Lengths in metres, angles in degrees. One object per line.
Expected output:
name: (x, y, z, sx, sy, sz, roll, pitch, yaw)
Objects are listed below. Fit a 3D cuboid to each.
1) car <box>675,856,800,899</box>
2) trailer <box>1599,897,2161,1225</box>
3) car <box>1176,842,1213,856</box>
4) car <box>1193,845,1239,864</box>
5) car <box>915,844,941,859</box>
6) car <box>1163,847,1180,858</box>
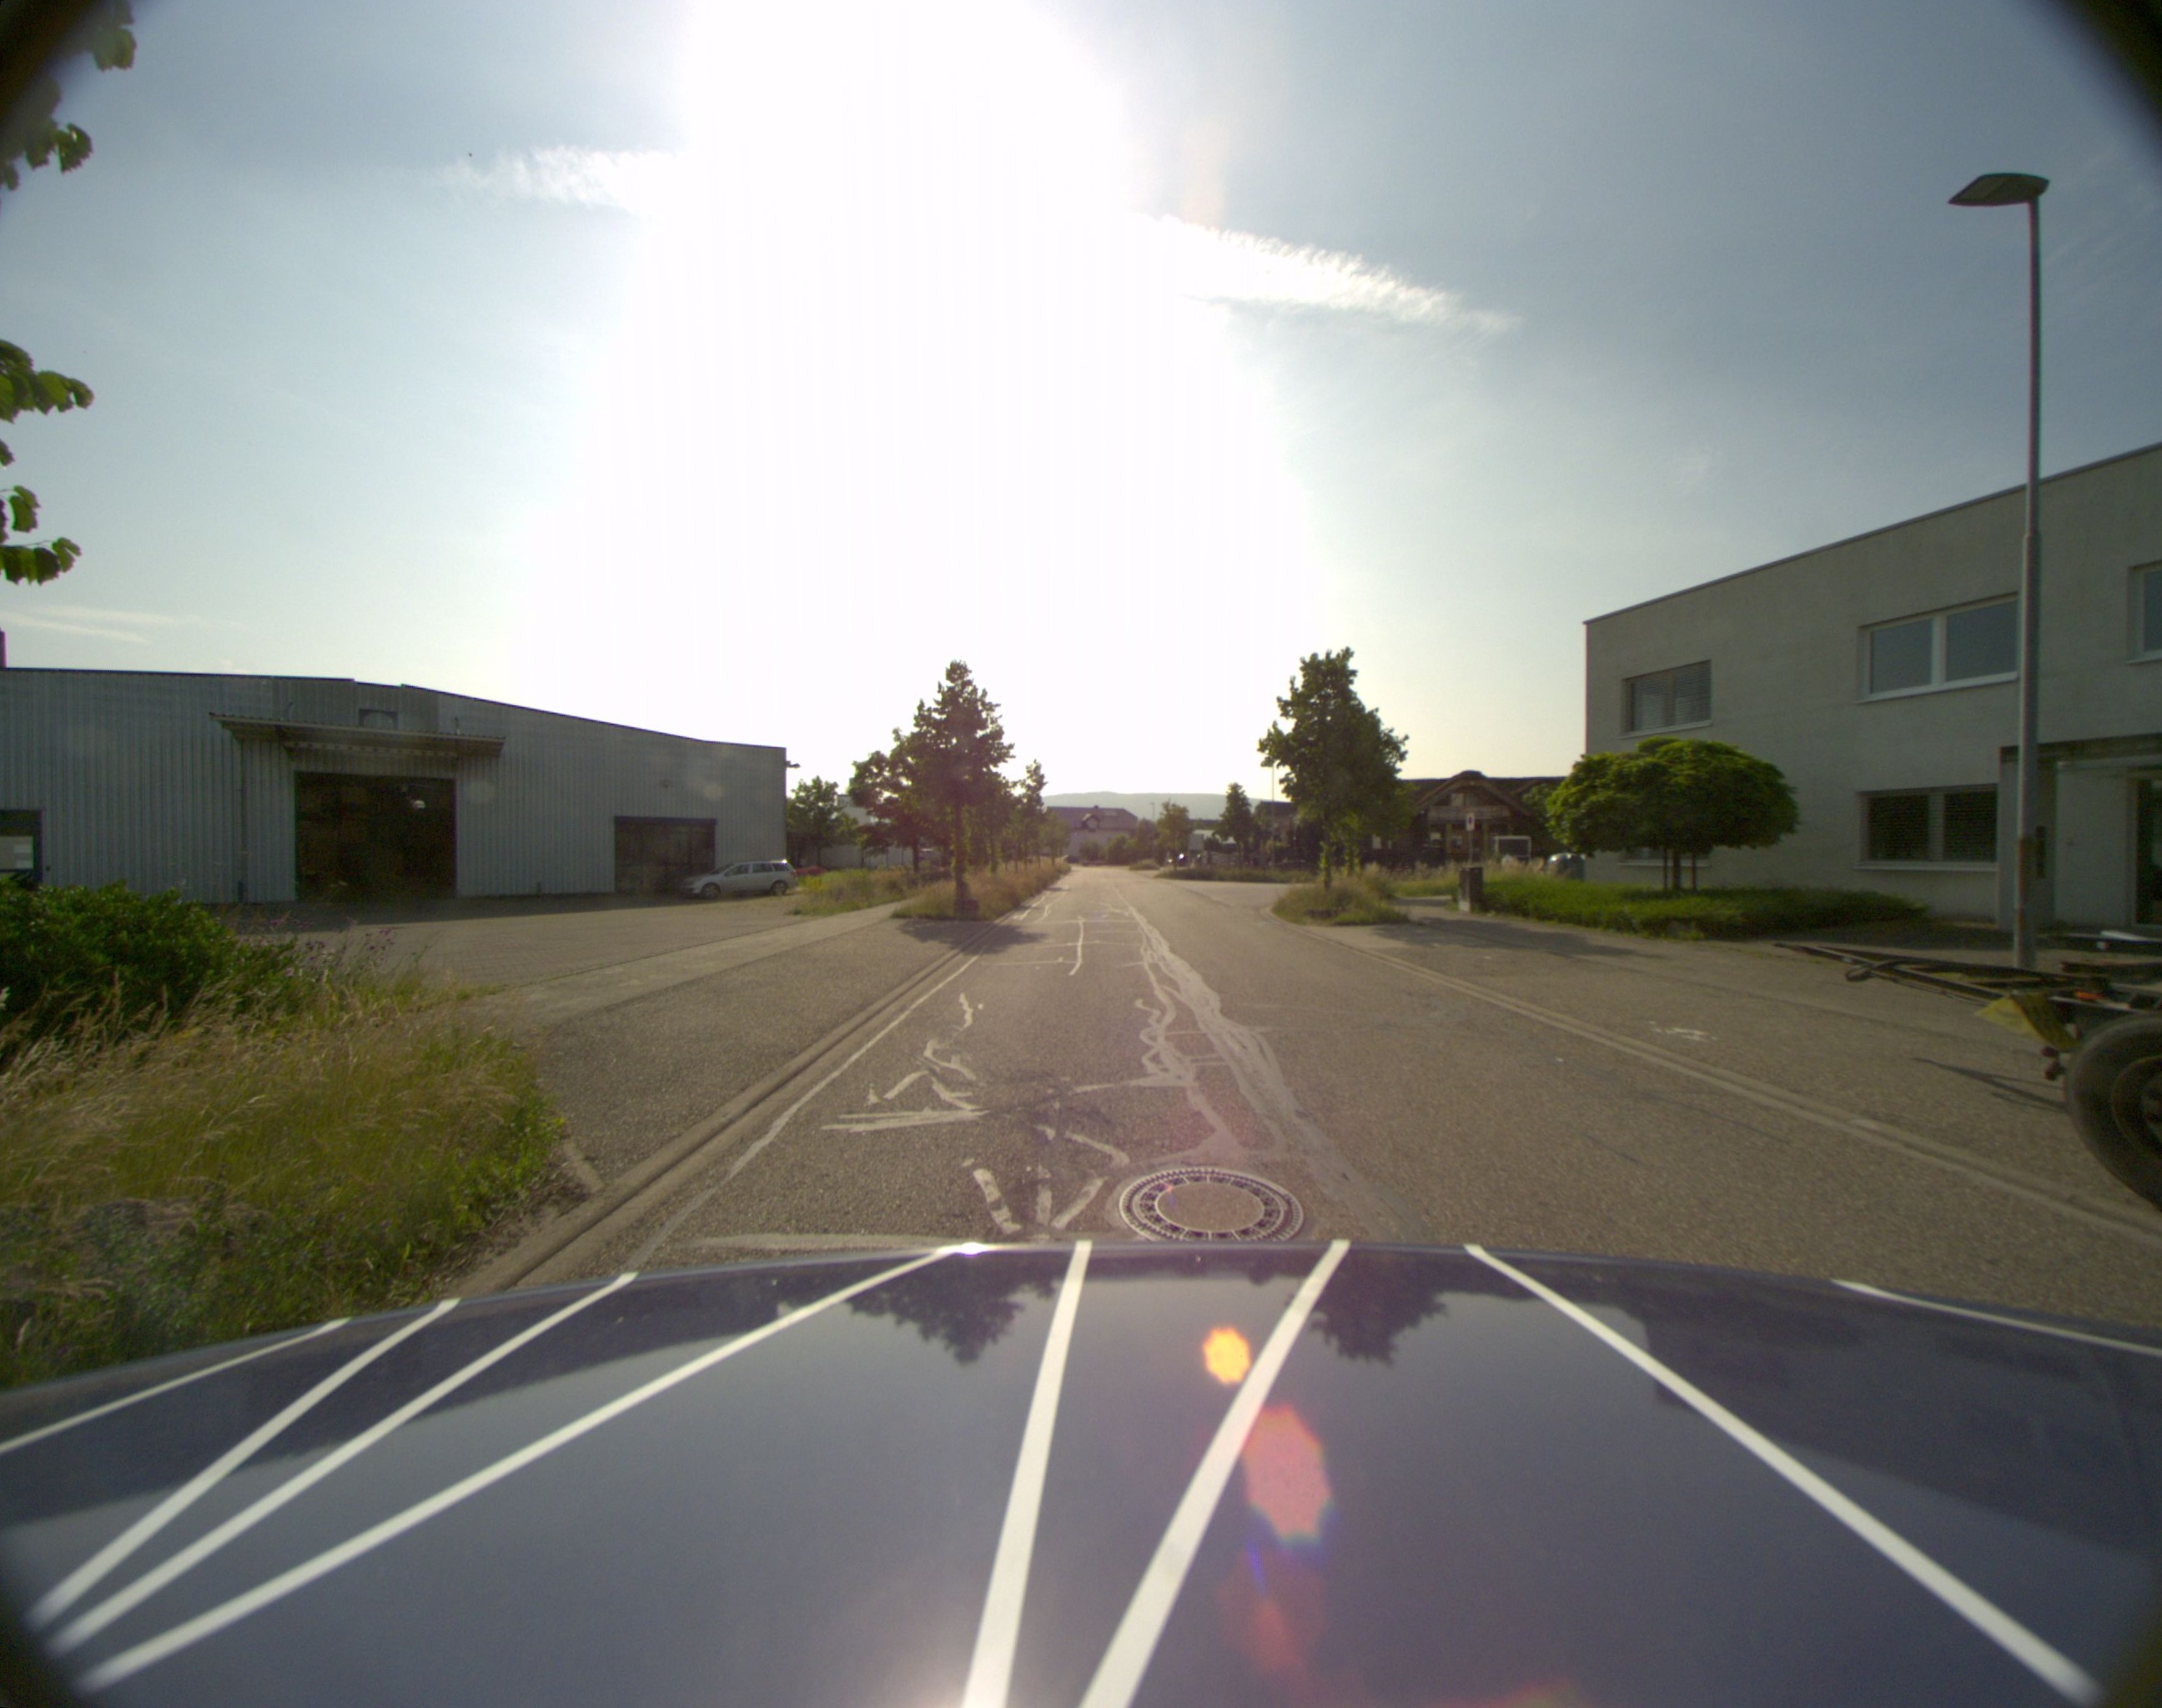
car: (-14.147, 0.920, 31.431, 4.368, 1.554, 1.753, 0, 3, -41)
trailer: (5.721, 0.970, 1.727, 2.552, 1.068, 9.731, -2, 0, 1)
car: (14.169, -0.632, 94.954, 4.004, 1.783, 1.996, -1, 1, -21)
car: (12.674, 0.006, 71.671, 3.996, 1.718, 2.000, 0, 1, 2)
car: (-18.738, -0.299, 93.201, 1.598, 1.672, 3.761, -2, 1, 16)
car: (12.460, -0.281, 104.524, 1.615, 1.472, 3.548, -1, 1, -6)
